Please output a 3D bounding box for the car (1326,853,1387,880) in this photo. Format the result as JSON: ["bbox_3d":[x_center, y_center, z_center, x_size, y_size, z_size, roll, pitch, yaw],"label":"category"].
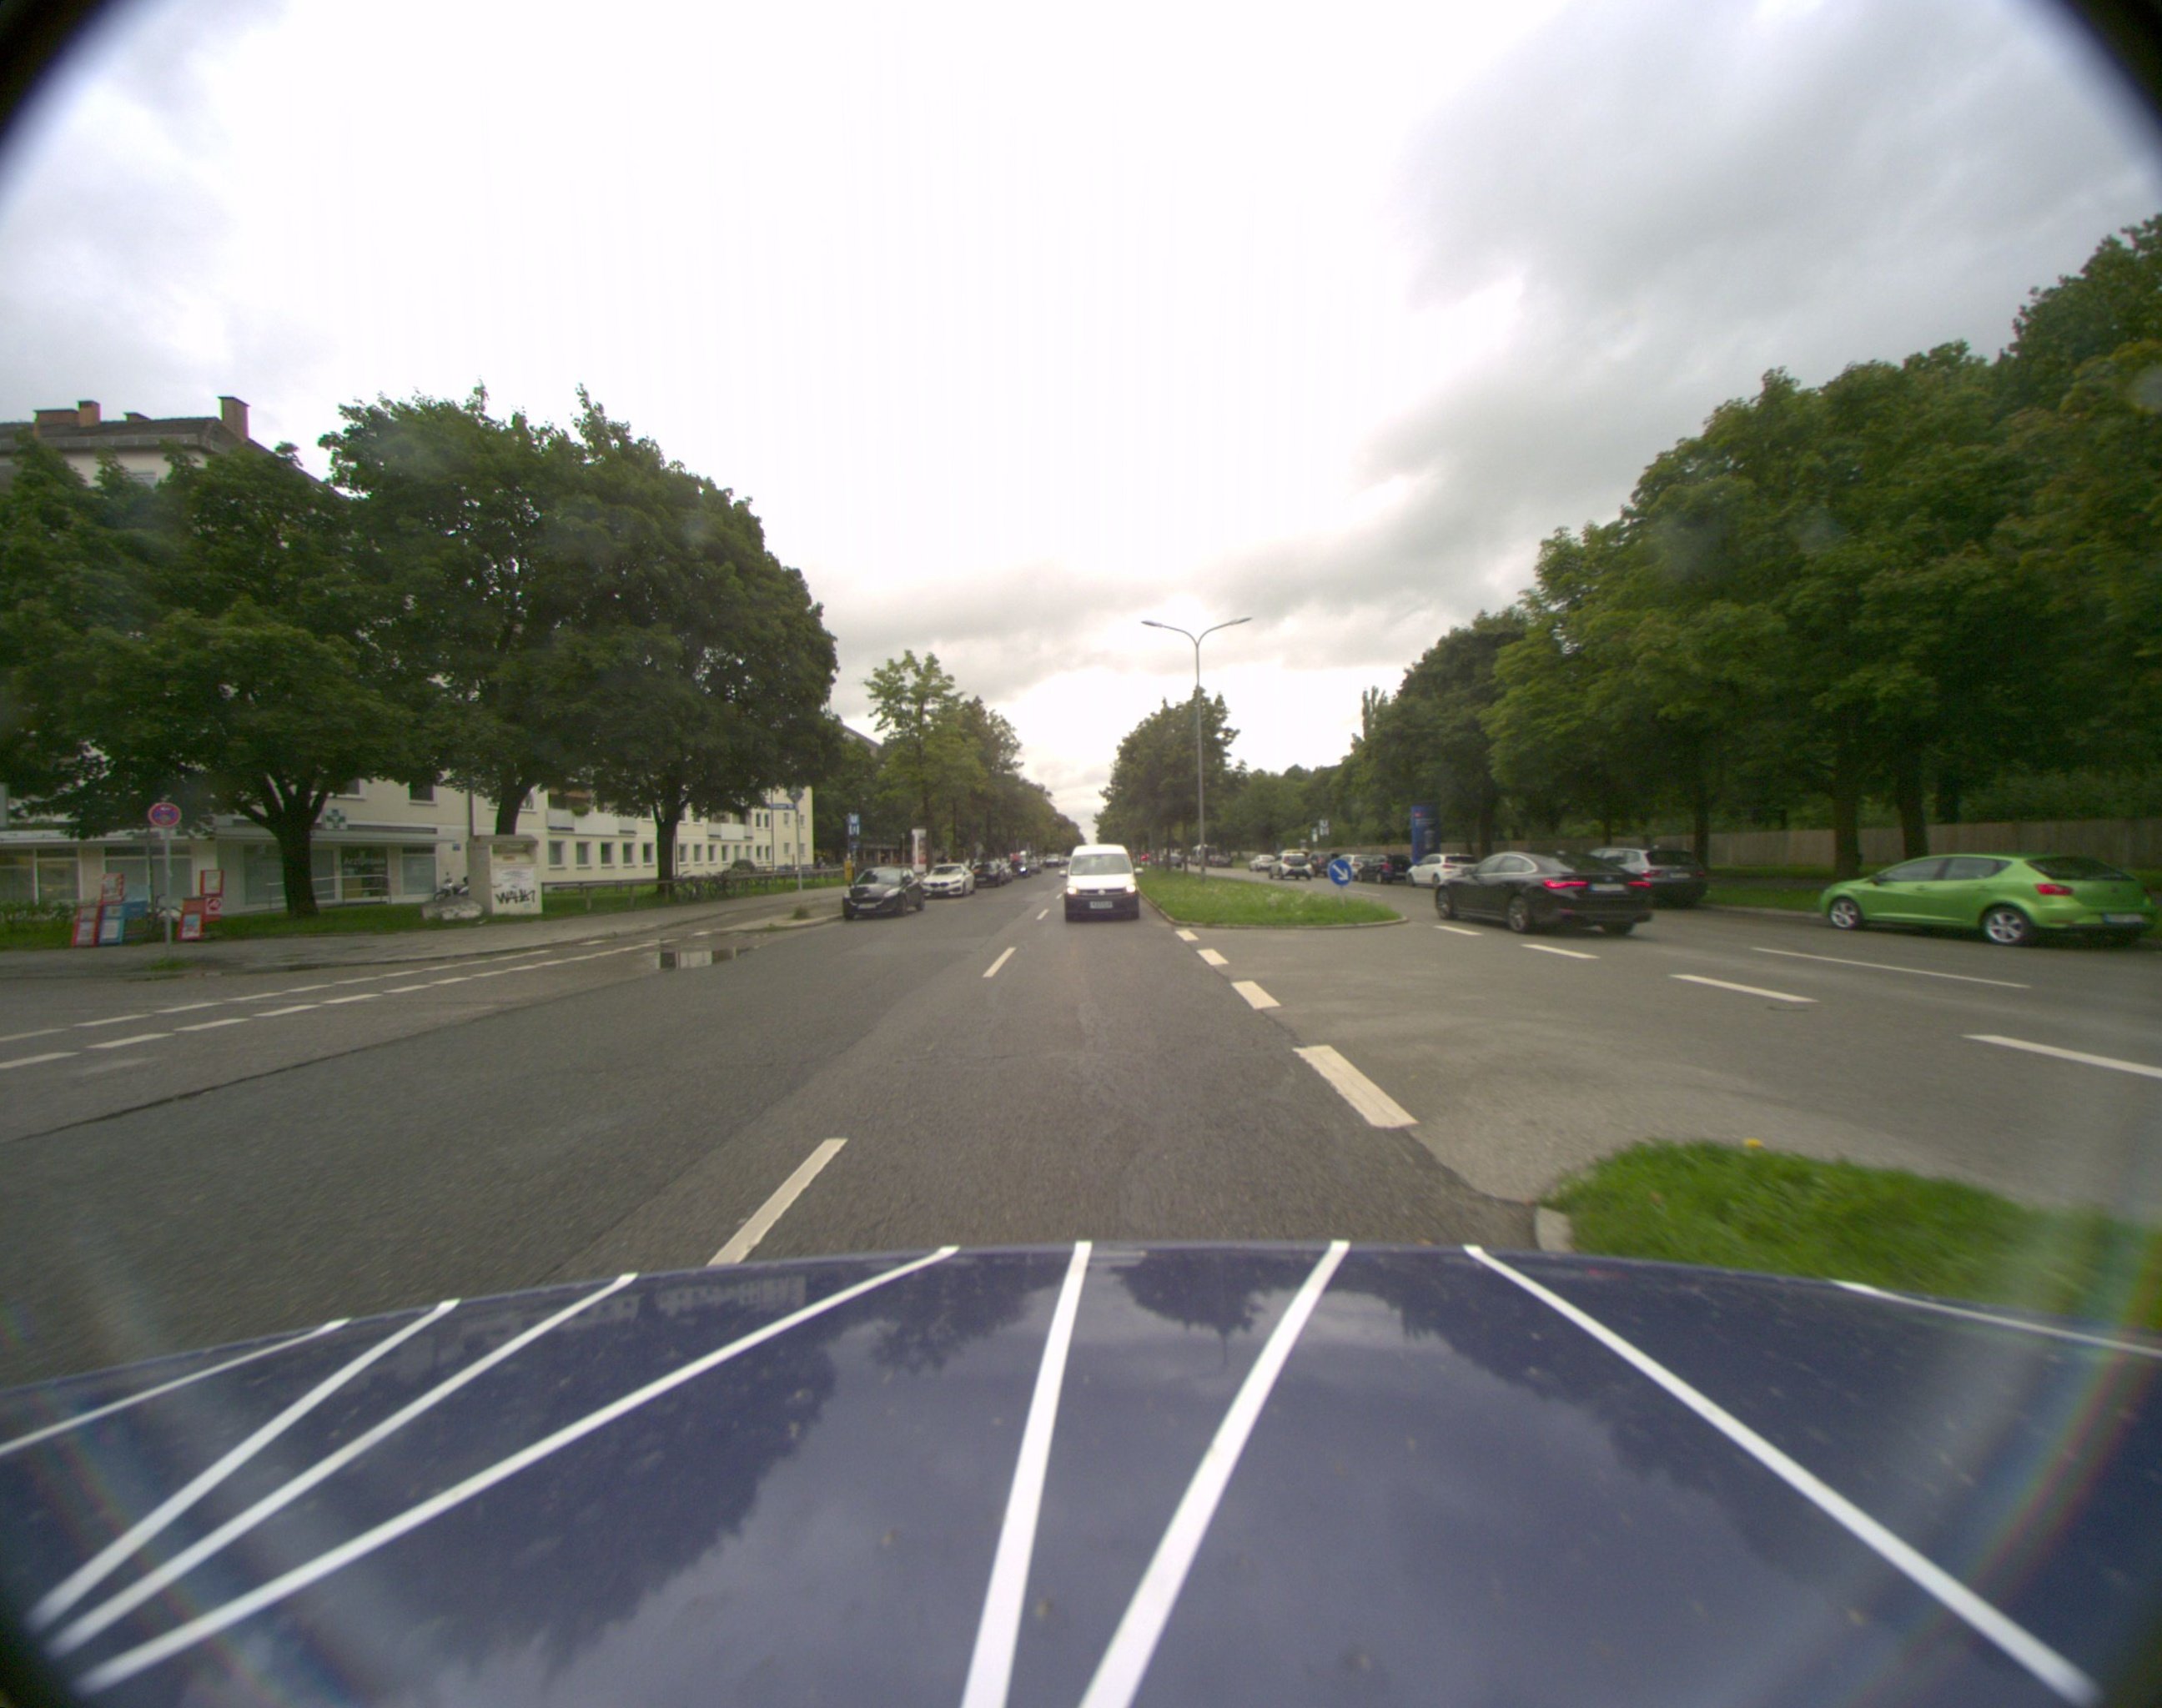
[{"bbox_3d":[15.505,0.666,43.046,1.826,1.461,4.300,0,0,-1],"label":"car"}]

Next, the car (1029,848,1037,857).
[{"bbox_3d":[-13.290,-0.447,210.546,1.998,2.440,4.999,-2,0,0],"label":"car"}]

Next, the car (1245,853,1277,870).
[{"bbox_3d":[15.573,0.659,65.970,1.717,1.434,4.041,0,0,-1],"label":"car"}]

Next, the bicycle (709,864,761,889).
[{"bbox_3d":[-15.883,1.042,34.885,2.032,1.061,0.663,-2,1,-3],"label":"bicycle"}]

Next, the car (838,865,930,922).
[{"bbox_3d":[-5.795,1.121,22.835,1.648,1.468,3.956,-2,0,0],"label":"car"}]

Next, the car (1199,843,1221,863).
[{"bbox_3d":[16.901,-0.134,99.578,1.999,2.576,4.499,0,0,-1],"label":"car"}]

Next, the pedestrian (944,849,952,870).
[{"bbox_3d":[-11.223,0.433,64.189,0.560,1.745,0.656,-2,1,-18],"label":"pedestrian"}]

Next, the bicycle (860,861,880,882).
[{"bbox_3d":[-12.804,1.041,46.227,0.545,1.182,2.076,-2,0,2],"label":"bicycle"}]

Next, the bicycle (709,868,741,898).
[{"bbox_3d":[-13.444,1.065,28.726,0.470,1.049,1.767,1,1,-3],"label":"bicycle"}]

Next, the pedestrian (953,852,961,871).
[{"bbox_3d":[-10.530,0.640,64.403,0.560,1.595,0.520,-2,1,-18],"label":"pedestrian"}]

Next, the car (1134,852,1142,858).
[{"bbox_3d":[14.373,0.242,191.977,1.865,1.447,4.500,1,0,1],"label":"car"}]

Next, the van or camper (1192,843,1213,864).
[{"bbox_3d":[16.661,-0.076,104.606,1.999,2.791,4.931,0,0,-1],"label":"van or camper"}]

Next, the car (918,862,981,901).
[{"bbox_3d":[-5.653,1.135,33.260,1.826,1.428,4.287,-3,0,2],"label":"car"}]

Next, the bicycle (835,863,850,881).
[{"bbox_3d":[-14.903,1.109,47.480,0.466,1.110,1.253,-2,1,2],"label":"bicycle"}]

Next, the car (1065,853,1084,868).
[{"bbox_3d":[-0.701,0.732,84.080,1.984,1.591,4.402,1,0,2],"label":"car"}]

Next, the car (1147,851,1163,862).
[{"bbox_3d":[9.499,0.318,97.731,1.722,1.374,3.767,1,0,2],"label":"car"}]

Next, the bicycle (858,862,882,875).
[{"bbox_3d":[-15.538,1.062,55.895,1.599,0.910,0.498,0,1,-3],"label":"bicycle"}]

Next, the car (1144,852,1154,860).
[{"bbox_3d":[15.081,0.400,169.286,1.865,1.659,4.500,1,0,1],"label":"car"}]

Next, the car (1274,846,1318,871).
[{"bbox_3d":[15.684,0.328,55.578,1.862,1.761,4.533,0,0,-1],"label":"car"}]

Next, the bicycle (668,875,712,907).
[{"bbox_3d":[-13.414,1.258,26.119,0.448,1.009,1.853,-2,0,2],"label":"bicycle"}]

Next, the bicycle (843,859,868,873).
[{"bbox_3d":[-15.819,0.862,53.400,1.599,0.910,0.498,-2,1,-3],"label":"bicycle"}]

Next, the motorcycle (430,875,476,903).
[{"bbox_3d":[-27.705,1.534,33.549,0.606,1.113,1.622,-2,0,2],"label":"motorcycle"}]

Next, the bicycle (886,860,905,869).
[{"bbox_3d":[-14.799,0.852,60.503,1.392,0.709,0.498,1,1,-3],"label":"bicycle"}]

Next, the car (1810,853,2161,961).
[{"bbox_3d":[14.810,0.740,12.617,1.644,1.490,4.000,0,0,2],"label":"car"}]

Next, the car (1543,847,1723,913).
[{"bbox_3d":[14.993,0.641,21.007,1.826,1.621,4.456,0,0,1],"label":"car"}]

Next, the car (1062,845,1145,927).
[{"bbox_3d":[0.550,0.700,19.299,1.772,1.742,4.546,-3,0,1],"label":"car"}]

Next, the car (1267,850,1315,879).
[{"bbox_3d":[11.974,0.550,43.453,1.826,1.544,3.721,-2,0,3],"label":"car"}]

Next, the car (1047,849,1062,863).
[{"bbox_3d":[-3.862,0.314,111.656,1.827,1.939,4.300,-2,0,2],"label":"car"}]

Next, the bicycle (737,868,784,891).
[{"bbox_3d":[-15.989,1.273,37.893,2.032,1.061,0.663,-2,1,-3],"label":"bicycle"}]

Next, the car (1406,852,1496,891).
[{"bbox_3d":[15.408,0.675,31.897,1.826,1.468,4.260,1,0,2],"label":"car"}]

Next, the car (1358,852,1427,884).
[{"bbox_3d":[15.377,0.664,37.734,1.826,1.438,3.787,1,0,-1],"label":"car"}]

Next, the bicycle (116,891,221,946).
[{"bbox_3d":[-20.691,1.444,17.241,1.473,1.149,0.699,-2,1,-1],"label":"bicycle"}]

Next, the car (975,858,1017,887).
[{"bbox_3d":[-4.793,1.013,43.459,1.826,1.502,4.157,-2,0,1],"label":"car"}]

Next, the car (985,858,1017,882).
[{"bbox_3d":[-5.183,1.027,49.755,1.617,1.371,3.926,-2,0,0],"label":"car"}]

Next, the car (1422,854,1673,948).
[{"bbox_3d":[8.398,0.738,14.318,1.820,1.440,4.782,0,0,0],"label":"car"}]

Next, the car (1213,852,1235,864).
[{"bbox_3d":[16.413,0.456,87.280,1.717,1.401,4.041,0,0,-1],"label":"car"}]

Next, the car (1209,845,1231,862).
[{"bbox_3d":[16.831,-0.077,92.048,1.998,2.002,4.000,-2,0,1],"label":"car"}]

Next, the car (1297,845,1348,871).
[{"bbox_3d":[15.584,0.253,49.294,2.007,1.607,4.041,0,0,-1],"label":"car"}]

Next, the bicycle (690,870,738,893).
[{"bbox_3d":[-18.325,1.372,37.972,2.032,1.061,0.663,-2,1,-3],"label":"bicycle"}]

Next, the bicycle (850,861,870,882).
[{"bbox_3d":[-13.690,1.067,47.107,0.545,1.182,2.076,-2,0,2],"label":"bicycle"}]

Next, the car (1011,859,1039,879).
[{"bbox_3d":[-4.366,1.135,59.670,1.827,1.371,4.300,-2,0,0],"label":"car"}]

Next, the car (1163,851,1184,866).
[{"bbox_3d":[10.140,0.456,83.141,1.826,1.580,4.502,-2,0,2],"label":"car"}]

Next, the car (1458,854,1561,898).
[{"bbox_3d":[15.085,0.741,26.949,1.653,1.414,3.687,1,0,2],"label":"car"}]

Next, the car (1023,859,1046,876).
[{"bbox_3d":[-4.488,1.267,73.766,1.827,1.460,4.300,-2,0,2],"label":"car"}]
